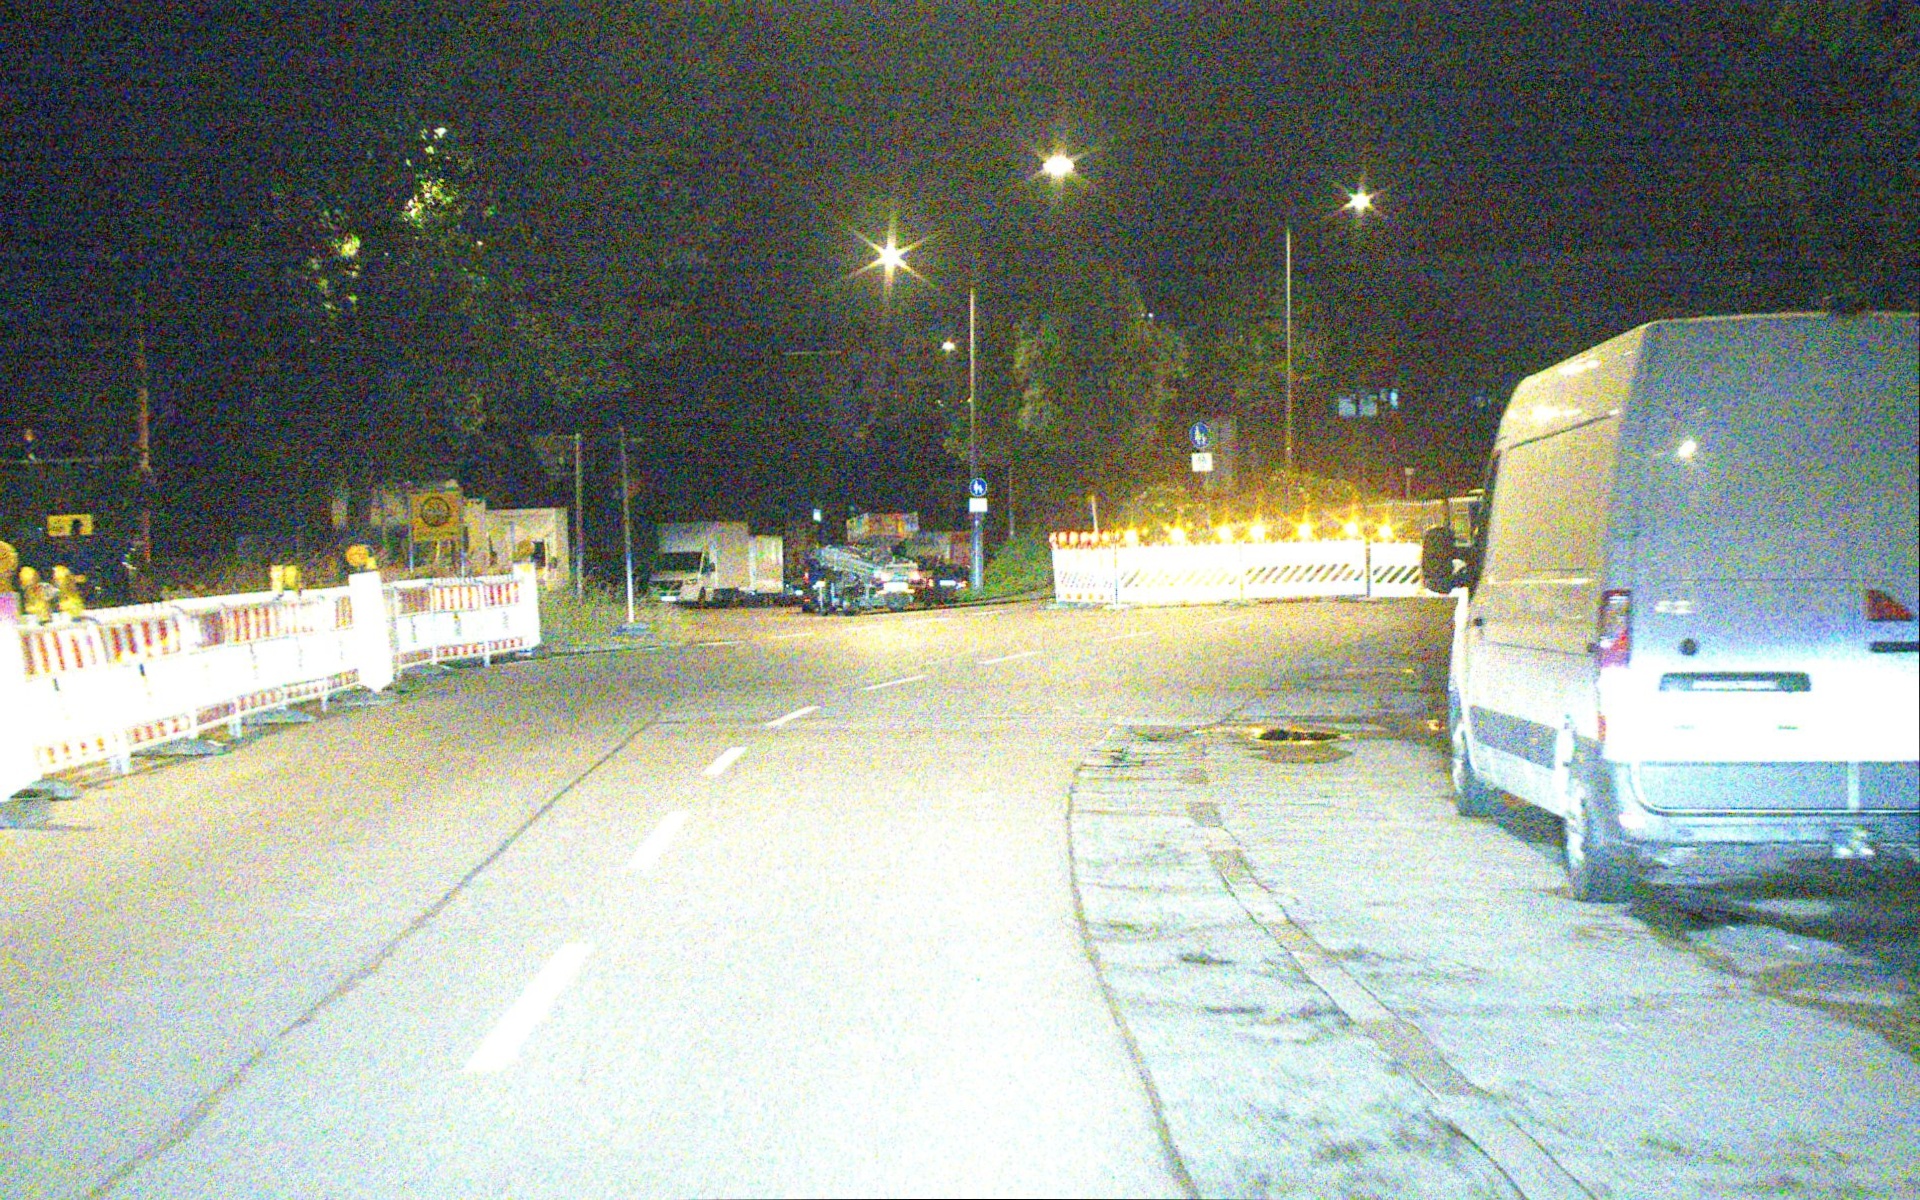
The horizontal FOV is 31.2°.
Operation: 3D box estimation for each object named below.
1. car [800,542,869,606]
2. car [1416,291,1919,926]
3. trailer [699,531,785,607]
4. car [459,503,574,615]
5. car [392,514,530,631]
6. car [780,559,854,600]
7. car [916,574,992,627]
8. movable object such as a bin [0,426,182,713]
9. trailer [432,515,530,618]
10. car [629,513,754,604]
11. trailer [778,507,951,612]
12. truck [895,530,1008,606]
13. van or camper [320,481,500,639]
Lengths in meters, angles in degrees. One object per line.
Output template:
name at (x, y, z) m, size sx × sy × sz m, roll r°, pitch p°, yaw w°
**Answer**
car at (-3.316, -0.670, 91.343) m, size 1.720 × 1.655 × 4.000 m, roll 0°, pitch 0°, yaw -1°
car at (3.650, -0.048, 16.772) m, size 2.108 × 2.507 × 6.372 m, roll 0°, pitch 1°, yaw 1°
trailer at (-8.397, -1.225, 132.767) m, size 1.995 × 2.803 × 4.700 m, roll -1°, pitch 1°, yaw 13°
car at (-12.381, -1.147, 96.440) m, size 2.519 × 2.917 × 7.202 m, roll -2°, pitch 1°, yaw -3°
car at (-11.967, -0.675, 82.917) m, size 2.519 × 2.597 × 7.092 m, roll -2°, pitch 1°, yaw -3°
car at (-5.963, -0.849, 143.822) m, size 1.995 × 1.694 × 4.204 m, roll 0°, pitch 0°, yaw 14°
car at (-0.186, 0.017, 119.893) m, size 1.722 × 1.815 × 3.997 m, roll 0°, pitch 0°, yaw 14°
movable object such as a bin at (-9.054, -0.345, 35.424) m, size 1.570 × 2.724 × 3.702 m, roll -4°, pitch 2°, yaw -8°
trailer at (-12.371, -0.869, 88.940) m, size 1.993 × 2.519 × 3.568 m, roll -3°, pitch 1°, yaw -1°
car at (-9.817, -1.560, 126.337) m, size 2.520 × 3.160 × 7.134 m, roll -2°, pitch 1°, yaw 12°
trailer at (-2.173, -0.866, 76.300) m, size 1.559 × 2.153 × 5.222 m, roll -2°, pitch 0°, yaw -29°
truck at (-0.349, -1.559, 161.533) m, size 1.996 × 3.392 × 8.969 m, roll 1°, pitch 2°, yaw 22°
van or camper at (-11.582, -0.852, 73.046) m, size 2.519 × 3.084 × 7.445 m, roll -2°, pitch 1°, yaw 0°
